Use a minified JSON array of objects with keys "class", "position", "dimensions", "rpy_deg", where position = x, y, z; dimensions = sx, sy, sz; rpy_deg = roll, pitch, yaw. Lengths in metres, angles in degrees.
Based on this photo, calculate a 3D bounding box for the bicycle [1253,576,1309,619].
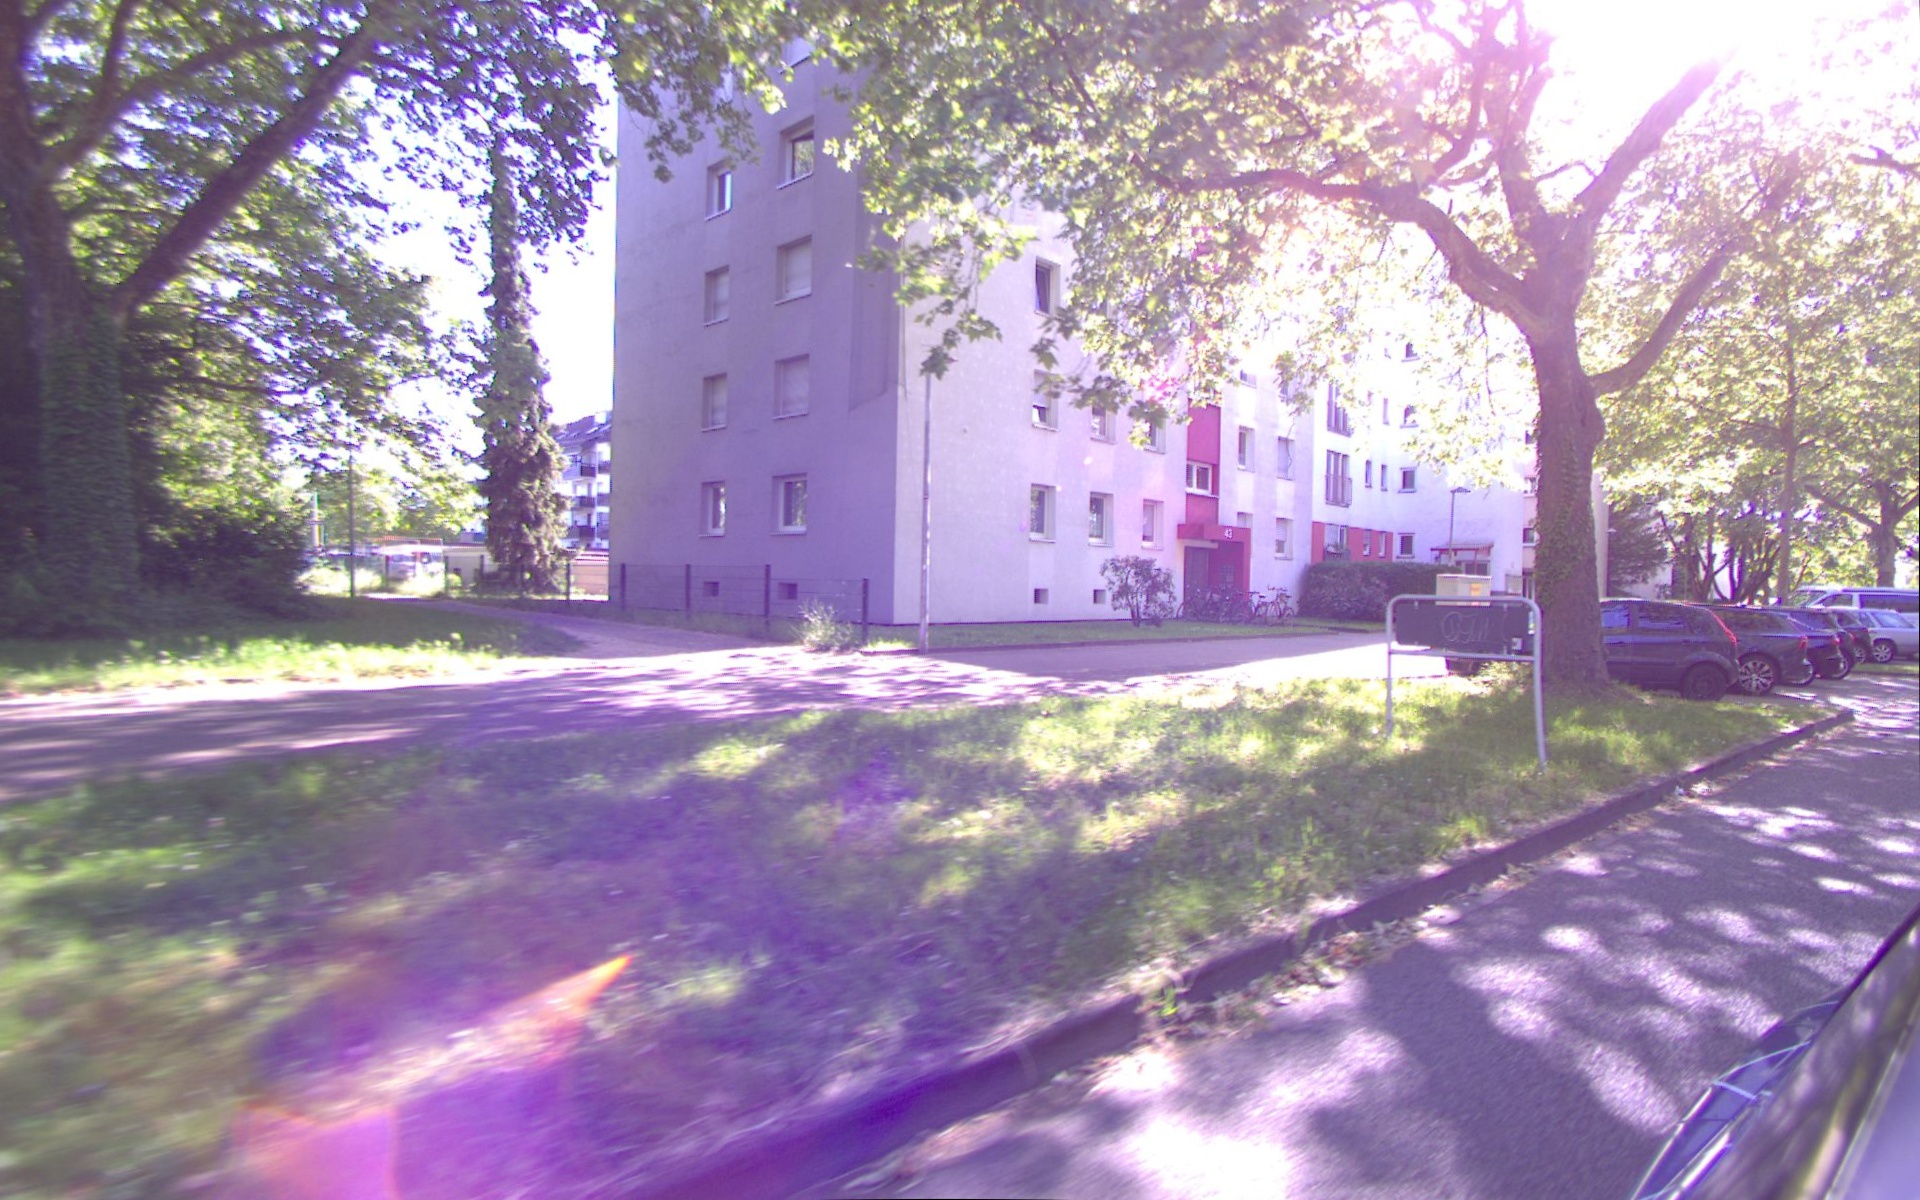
[{"class":"bicycle","position":[8.599,-0.073,27.088],"dimensions":[1.768,1.121,0.591],"rpy_deg":[0,1,-41]}]

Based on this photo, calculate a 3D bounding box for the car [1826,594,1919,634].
[{"class":"car","position":[39.543,0.631,42.503],"dimensions":[4.339,1.445,1.946],"rpy_deg":[3,3,11]}]

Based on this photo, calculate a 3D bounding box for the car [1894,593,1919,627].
[{"class":"car","position":[48.729,0.591,49.587],"dimensions":[3.935,1.595,1.796],"rpy_deg":[3,2,10]}]

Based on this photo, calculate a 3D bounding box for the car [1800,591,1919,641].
[{"class":"car","position":[32.668,0.597,35.830],"dimensions":[4.135,1.528,1.800],"rpy_deg":[3,3,2]}]

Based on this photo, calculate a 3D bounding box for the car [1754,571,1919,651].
[{"class":"car","position":[26.383,0.317,29.522],"dimensions":[4.516,2.077,2.013],"rpy_deg":[3,3,10]}]

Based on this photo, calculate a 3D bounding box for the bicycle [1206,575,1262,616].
[{"class":"bicycle","position":[7.634,-0.124,28.148],"dimensions":[1.768,1.121,0.591],"rpy_deg":[0,1,-41]}]

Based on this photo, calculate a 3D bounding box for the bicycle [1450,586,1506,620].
[{"class":"bicycle","position":[19.707,0.093,38.527],"dimensions":[0.492,1.143,1.796],"rpy_deg":[1,4,-45]}]

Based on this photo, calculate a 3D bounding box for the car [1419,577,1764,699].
[{"class":"car","position":[9.362,0.516,15.301],"dimensions":[3.930,1.479,1.798],"rpy_deg":[3,3,5]}]

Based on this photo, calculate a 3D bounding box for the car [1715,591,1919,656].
[{"class":"car","position":[23.620,0.613,27.535],"dimensions":[4.514,1.441,1.796],"rpy_deg":[3,3,9]}]

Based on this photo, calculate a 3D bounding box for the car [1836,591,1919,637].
[{"class":"car","position":[37.404,0.581,39.878],"dimensions":[3.932,1.609,1.797],"rpy_deg":[3,3,7]}]

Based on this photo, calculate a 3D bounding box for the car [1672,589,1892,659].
[{"class":"car","position":[20.705,0.573,25.650],"dimensions":[3.856,1.434,1.797],"rpy_deg":[3,3,7]}]

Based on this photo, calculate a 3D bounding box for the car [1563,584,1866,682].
[{"class":"car","position":[14.240,0.569,19.355],"dimensions":[4.188,1.479,1.796],"rpy_deg":[3,3,10]}]

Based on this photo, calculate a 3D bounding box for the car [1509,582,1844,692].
[{"class":"car","position":[12.015,0.572,17.258],"dimensions":[4.188,1.479,1.796],"rpy_deg":[3,3,10]}]

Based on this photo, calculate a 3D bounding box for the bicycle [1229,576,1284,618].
[{"class":"bicycle","position":[8.116,-0.087,27.662],"dimensions":[1.768,1.121,0.591],"rpy_deg":[0,1,-41]}]

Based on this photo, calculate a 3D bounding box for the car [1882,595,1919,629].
[{"class":"car","position":[45.460,0.639,46.360],"dimensions":[4.508,1.440,1.798],"rpy_deg":[3,2,5]}]

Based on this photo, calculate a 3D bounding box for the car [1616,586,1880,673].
[{"class":"car","position":[16.481,0.566,21.349],"dimensions":[3.932,1.485,1.780],"rpy_deg":[3,3,7]}]

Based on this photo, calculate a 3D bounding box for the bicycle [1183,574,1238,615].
[{"class":"bicycle","position":[7.101,-0.149,28.613],"dimensions":[1.768,1.121,0.591],"rpy_deg":[0,1,-41]}]
